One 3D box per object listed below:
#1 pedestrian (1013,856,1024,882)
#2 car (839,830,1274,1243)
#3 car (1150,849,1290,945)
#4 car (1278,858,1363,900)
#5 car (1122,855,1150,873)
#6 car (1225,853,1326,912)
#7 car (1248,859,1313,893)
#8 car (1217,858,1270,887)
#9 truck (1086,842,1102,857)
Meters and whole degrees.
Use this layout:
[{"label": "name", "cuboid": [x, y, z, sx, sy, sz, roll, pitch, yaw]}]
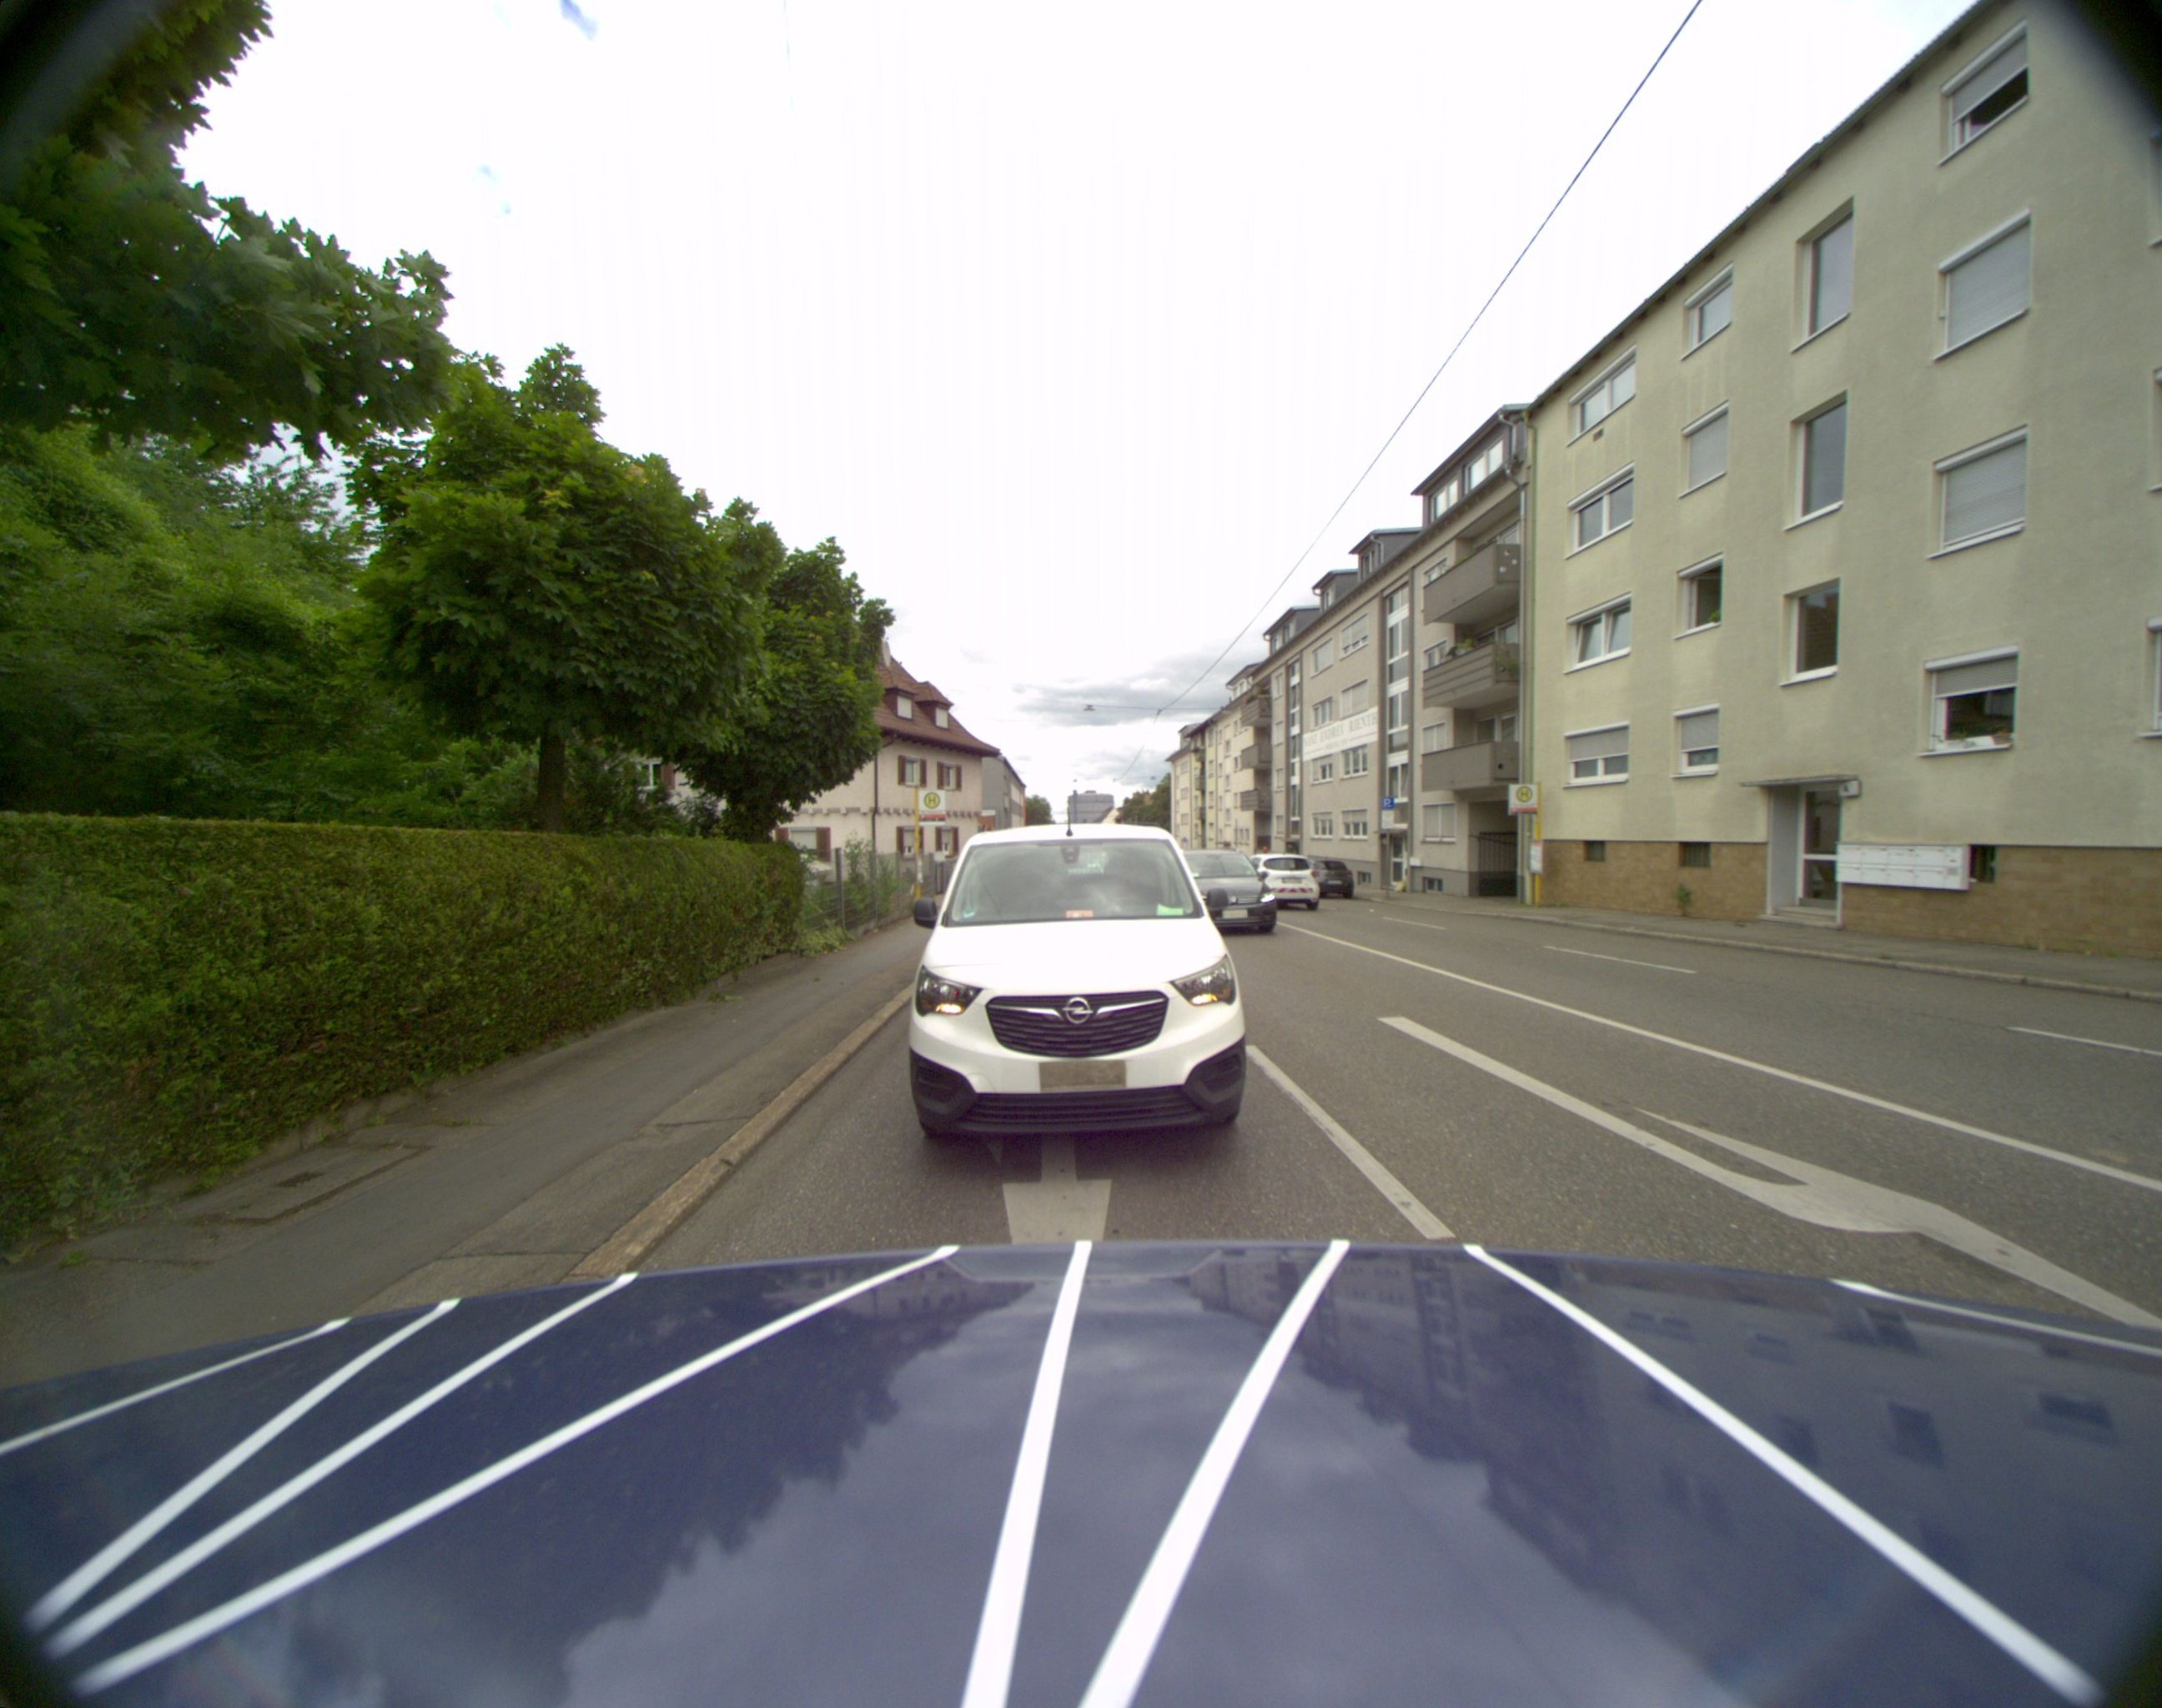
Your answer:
[{"label": "pedestrian", "cuboid": [-4.489, 1.071, 54.614, 0.647, 1.830, 0.592, -1, 1, 1]}, {"label": "car", "cuboid": [-0.076, 0.788, 5.722, 1.862, 1.772, 4.711, -2, 1, 1]}, {"label": "car", "cuboid": [2.645, 0.744, 15.578, 1.863, 1.601, 4.478, -2, 1, -2]}, {"label": "car", "cuboid": [8.908, 0.889, 28.546, 1.776, 1.403, 3.685, 0, 1, -5]}, {"label": "car", "cuboid": [4.539, 0.785, 63.006, 1.776, 1.395, 3.642, 0, 1, -5]}, {"label": "car", "cuboid": [5.502, 0.741, 22.061, 1.775, 1.513, 4.082, 0, 1, -2]}, {"label": "car", "cuboid": [8.735, 0.924, 33.508, 1.669, 1.368, 3.538, 0, 1, -5]}, {"label": "car", "cuboid": [8.396, 0.919, 39.536, 1.776, 1.395, 3.538, 0, 1, -5]}, {"label": "truck", "cuboid": [2.223, -0.775, 132.833, 2.547, 2.522, 5.493, -1, 0, -1]}]
